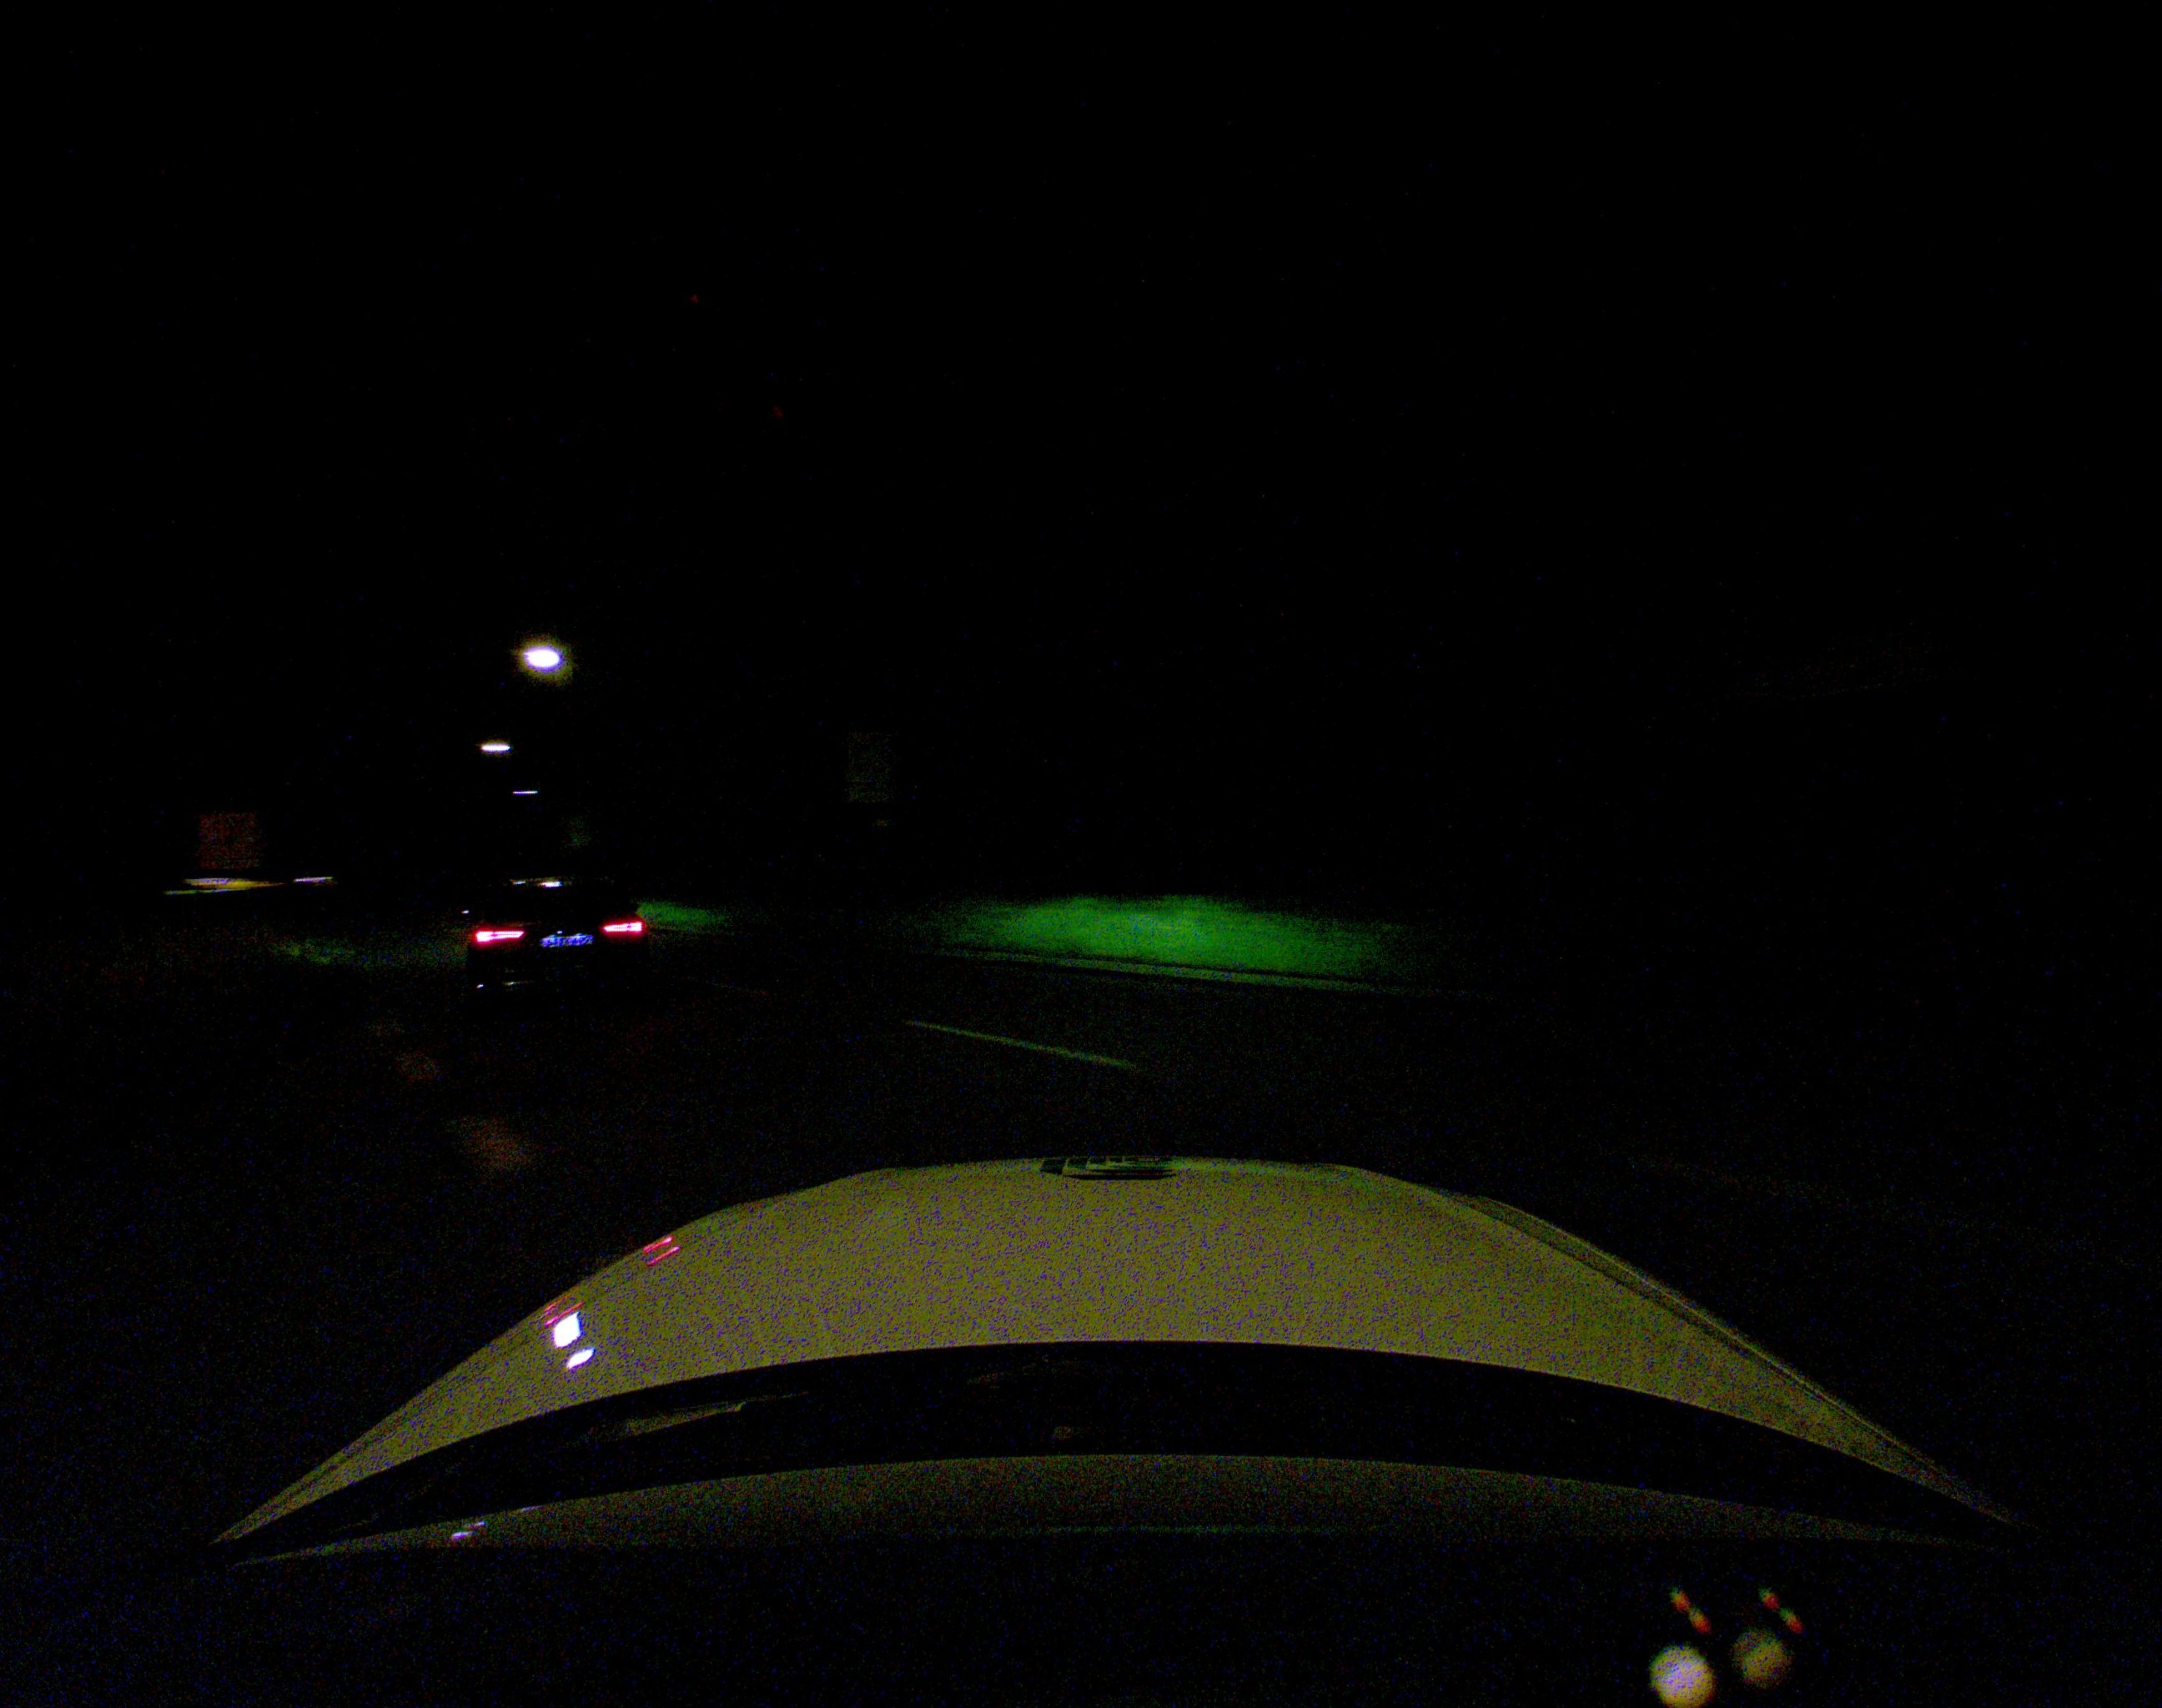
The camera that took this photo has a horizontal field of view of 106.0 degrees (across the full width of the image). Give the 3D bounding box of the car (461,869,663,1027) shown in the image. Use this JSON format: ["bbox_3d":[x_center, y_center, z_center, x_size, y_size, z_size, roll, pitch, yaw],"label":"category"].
[{"bbox_3d":[-6.834,1.051,10.577,1.866,1.582,3.962,-1,-1,-37],"label":"car"}]
